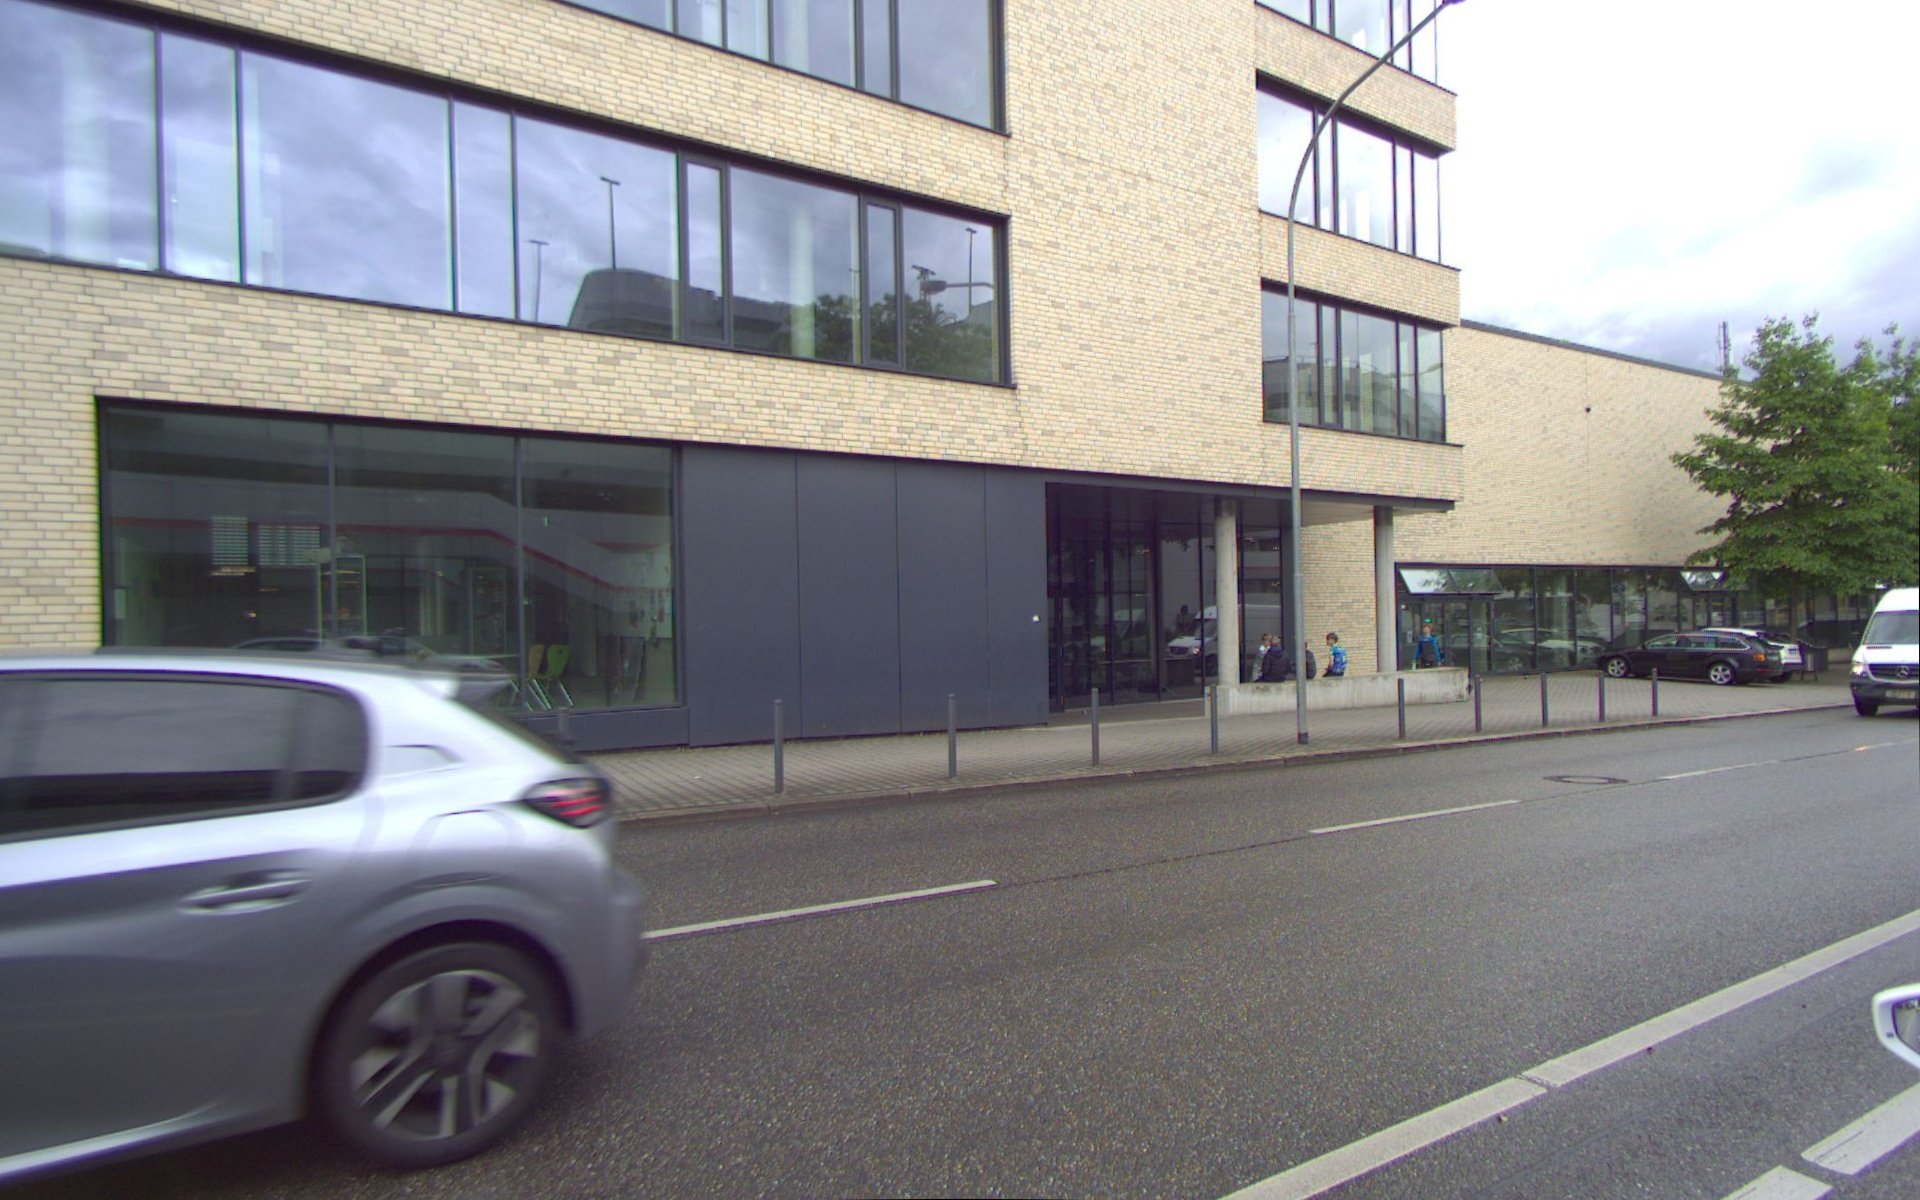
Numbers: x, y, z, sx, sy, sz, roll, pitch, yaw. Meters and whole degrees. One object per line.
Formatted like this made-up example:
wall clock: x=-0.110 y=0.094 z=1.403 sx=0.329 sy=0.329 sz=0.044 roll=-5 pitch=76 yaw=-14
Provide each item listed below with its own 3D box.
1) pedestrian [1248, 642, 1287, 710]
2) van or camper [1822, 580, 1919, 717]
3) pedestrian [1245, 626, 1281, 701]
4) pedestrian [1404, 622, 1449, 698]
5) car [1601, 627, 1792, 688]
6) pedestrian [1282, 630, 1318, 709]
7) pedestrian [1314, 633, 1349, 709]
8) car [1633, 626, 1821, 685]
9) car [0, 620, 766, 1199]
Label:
pedestrian: x=5.815 y=1.426 z=19.005 sx=0.416 sy=1.231 sz=0.546 roll=2 pitch=0 yaw=-27
van or camper: x=20.649 y=1.011 z=21.063 sx=5.840 sy=2.616 sz=2.092 roll=1 pitch=-3 yaw=-31
pedestrian: x=6.190 y=1.287 z=20.516 sx=0.523 sy=1.495 sz=0.438 roll=2 pitch=0 yaw=-35
pedestrian: x=10.935 y=1.399 z=23.549 sx=0.696 sy=1.737 sz=0.632 roll=2 pitch=0 yaw=-27
car: x=21.662 y=1.641 z=29.694 sx=1.981 sy=1.515 sz=4.147 roll=2 pitch=0 yaw=-36
pedestrian: x=6.612 y=1.342 z=19.528 sx=0.459 sy=1.495 sz=0.446 roll=2 pitch=0 yaw=-35
pedestrian: x=7.499 y=1.420 z=20.284 sx=0.459 sy=1.495 sz=0.446 roll=2 pitch=0 yaw=-35
car: x=23.539 y=1.659 z=31.002 sx=1.975 sy=1.568 sz=4.159 roll=2 pitch=0 yaw=-28
car: x=-2.692 y=0.829 z=2.933 sx=3.840 sy=1.489 sz=1.732 roll=1 pitch=-3 yaw=-32
